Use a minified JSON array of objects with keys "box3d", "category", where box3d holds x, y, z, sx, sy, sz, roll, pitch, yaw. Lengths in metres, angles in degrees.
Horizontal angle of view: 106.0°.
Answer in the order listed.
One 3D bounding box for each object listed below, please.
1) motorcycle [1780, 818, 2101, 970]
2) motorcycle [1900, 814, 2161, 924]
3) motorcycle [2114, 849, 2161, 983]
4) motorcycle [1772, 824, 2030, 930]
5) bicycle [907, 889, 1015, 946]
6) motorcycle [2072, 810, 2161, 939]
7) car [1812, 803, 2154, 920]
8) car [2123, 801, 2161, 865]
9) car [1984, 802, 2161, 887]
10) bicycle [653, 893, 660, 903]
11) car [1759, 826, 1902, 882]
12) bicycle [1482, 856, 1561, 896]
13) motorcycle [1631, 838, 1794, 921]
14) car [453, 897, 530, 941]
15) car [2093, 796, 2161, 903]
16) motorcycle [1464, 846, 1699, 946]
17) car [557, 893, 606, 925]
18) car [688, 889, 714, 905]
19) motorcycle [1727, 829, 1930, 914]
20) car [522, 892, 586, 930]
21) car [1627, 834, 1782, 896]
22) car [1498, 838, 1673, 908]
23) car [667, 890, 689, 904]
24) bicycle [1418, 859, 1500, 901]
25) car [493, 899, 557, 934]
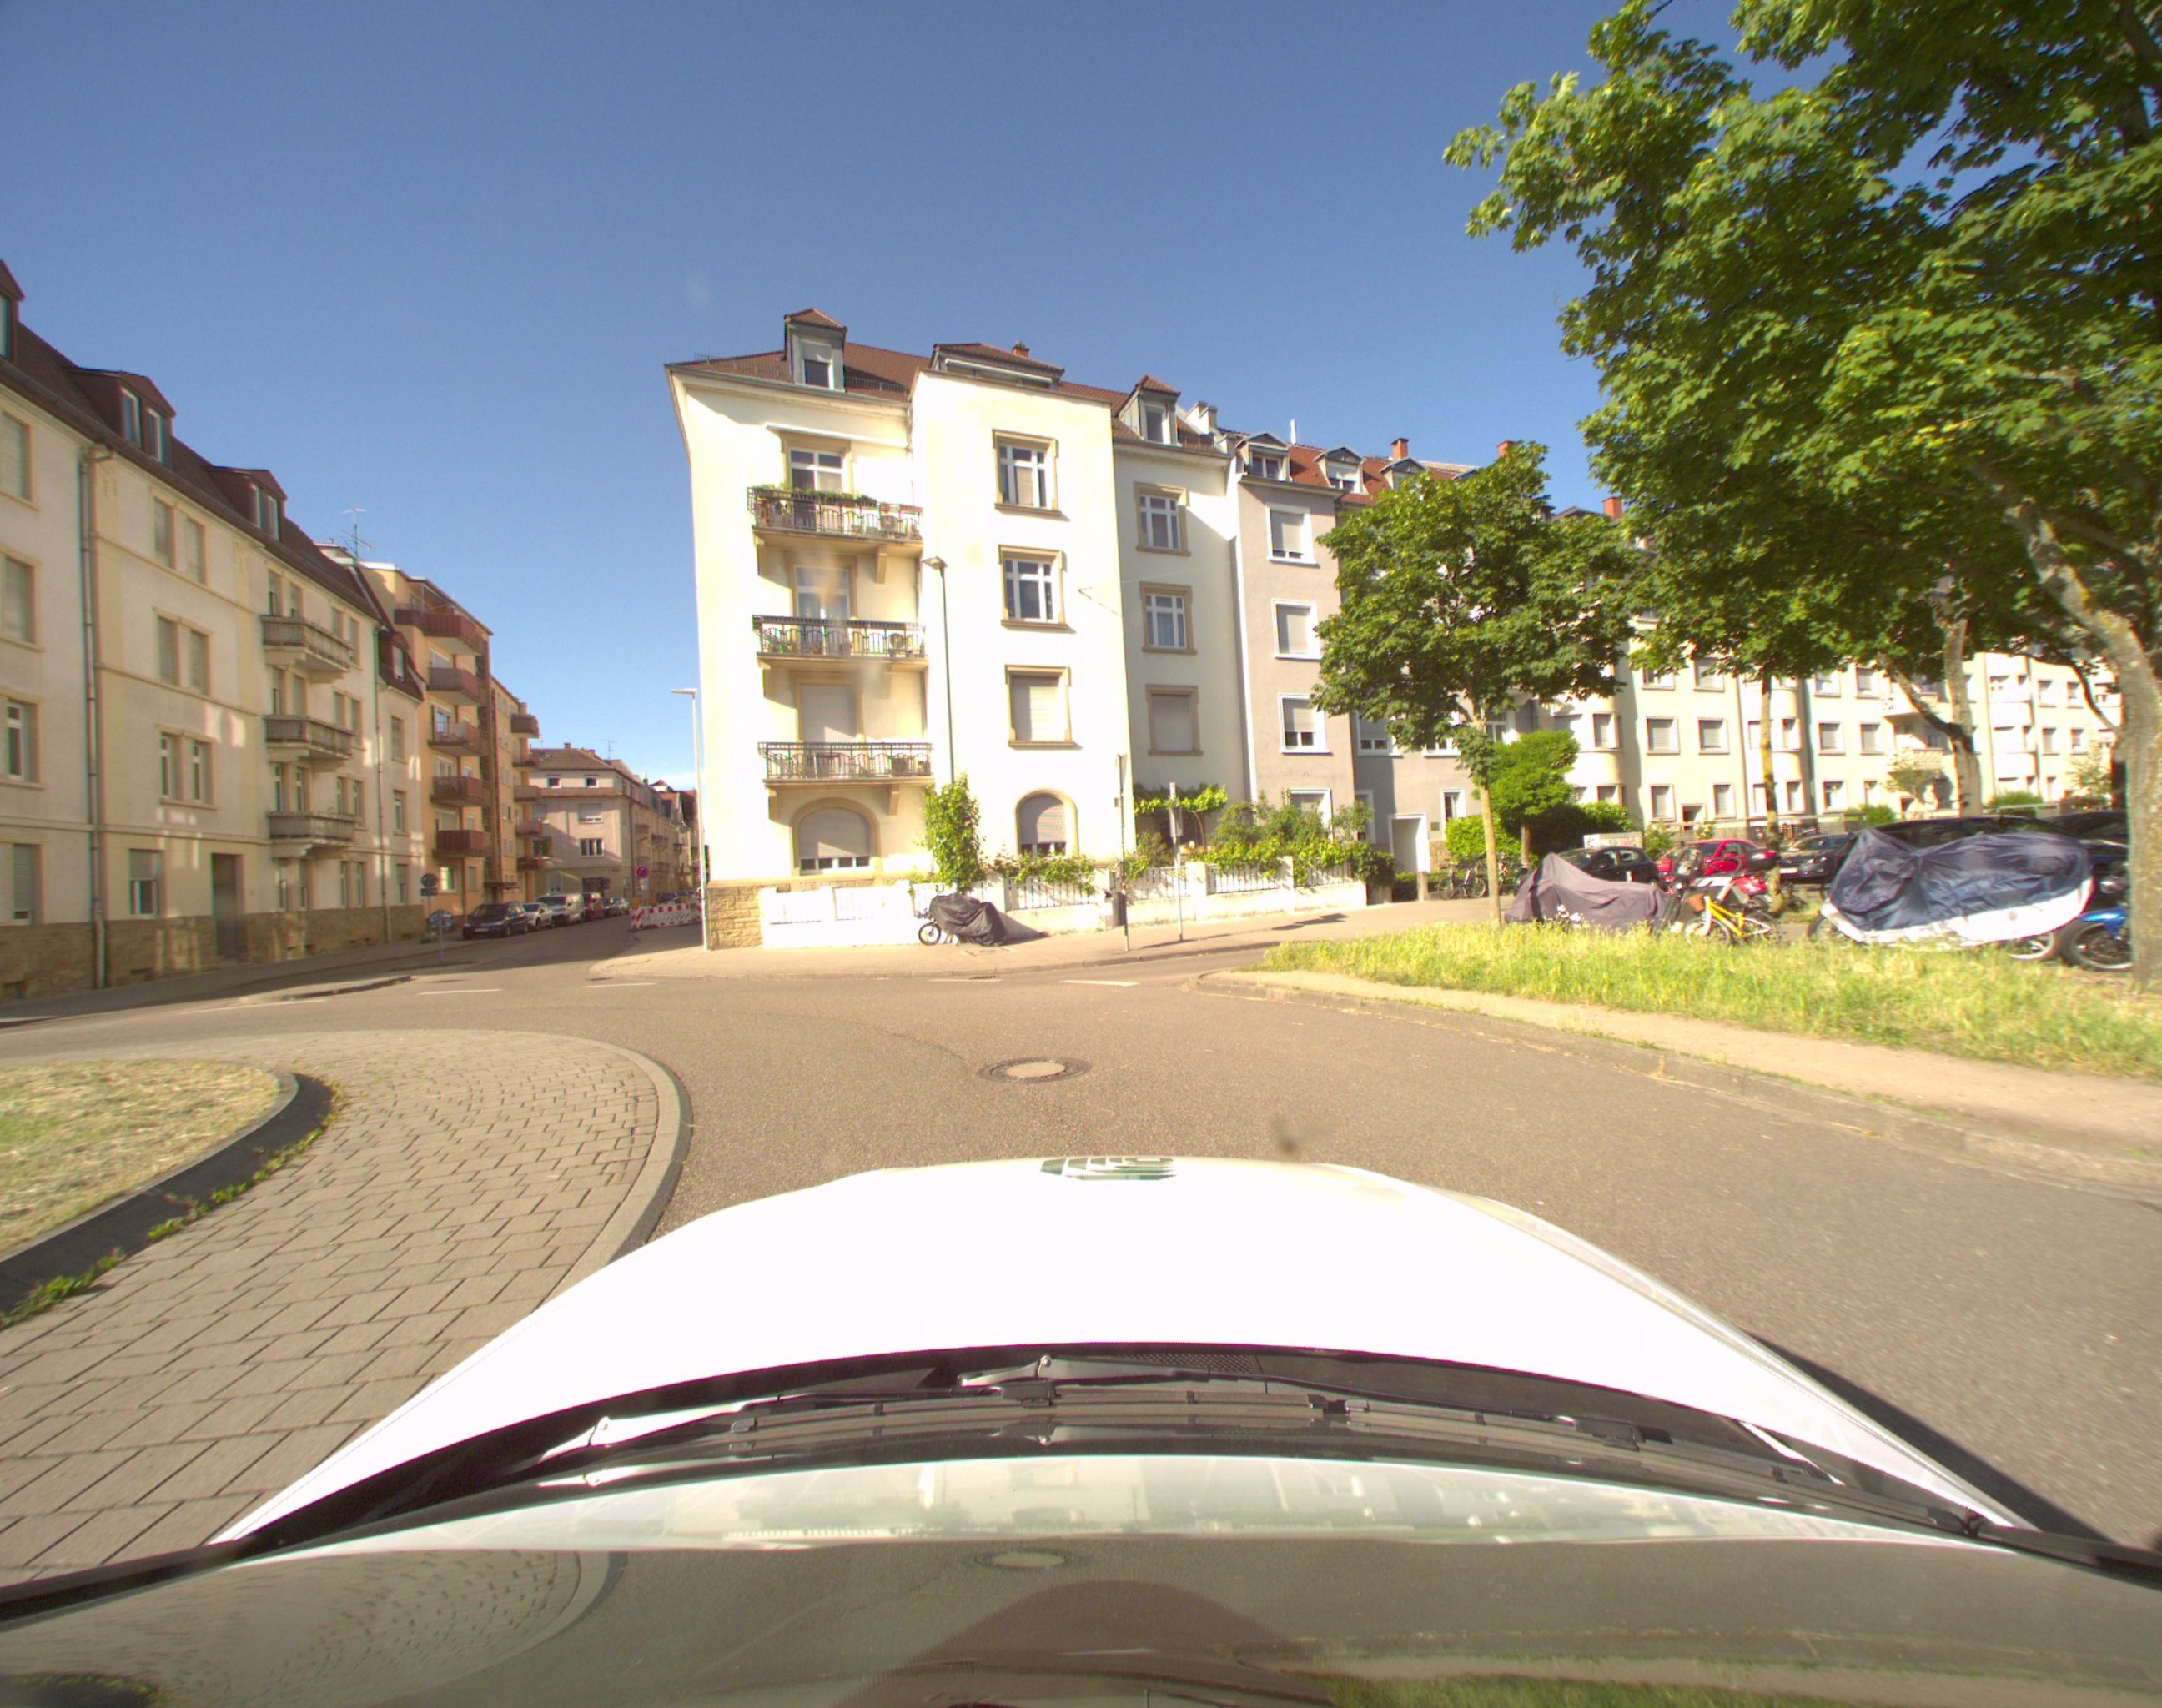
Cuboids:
[{"box3d":[8.675,0.388,8.359,0.864,1.328,2.037,-3,-1,-25],"category":"motorcycle"},{"box3d":[12.654,0.205,10.816,1.052,1.268,2.226,-3,-1,-21],"category":"motorcycle"},{"box3d":[9.557,0.499,6.255,0.815,1.072,1.832,-3,0,-21],"category":"motorcycle"},{"box3d":[11.210,0.317,11.261,1.052,1.268,2.226,-3,-1,-21],"category":"motorcycle"},{"box3d":[-2.664,1.411,18.050,2.258,1.157,0.771,-3,-2,22],"category":"bicycle"},{"box3d":[12.356,0.185,8.615,1.064,1.392,2.110,-3,-1,-23],"category":"motorcycle"},{"box3d":[15.161,0.130,14.076,1.788,1.640,3.884,-4,-1,7],"category":"car"},{"box3d":[27.691,-0.595,18.910,1.872,1.591,4.004,-4,-1,4],"category":"car"},{"box3d":[21.126,-0.202,16.310,1.694,1.591,4.004,-4,-1,4],"category":"car"},{"box3d":[-54.021,5.573,103.634,0.542,1.301,1.854,-2,-2,-18],"category":"bicycle"},{"box3d":[22.456,0.010,24.407,3.860,1.445,1.739,-3,-1,-24],"category":"car"},{"box3d":[13.261,0.660,24.515,2.257,1.059,0.678,-3,-1,-19],"category":"bicycle"},{"box3d":[10.363,0.425,13.461,0.890,1.236,1.880,-3,-1,-21],"category":"motorcycle"},{"box3d":[-27.475,2.986,38.134,1.769,1.771,4.264,-2,-1,-20],"category":"car"},{"box3d":[17.294,-0.142,11.058,1.989,1.598,3.995,-3,-1,-3],"category":"car"},{"box3d":[7.341,0.603,12.177,1.129,1.268,2.759,-3,-1,-27],"category":"motorcycle"},{"box3d":[-33.211,3.606,54.259,1.769,1.925,4.901,-2,-1,-20],"category":"car"},{"box3d":[-38.048,4.317,81.588,1.844,1.431,4.002,-4,-2,-19],"category":"car"},{"box3d":[12.460,0.308,13.688,1.052,1.268,2.226,-3,-1,-21],"category":"motorcycle"},{"box3d":[-31.034,3.301,48.111,1.982,1.925,5.272,-2,-1,-20],"category":"car"},{"box3d":[17.190,0.299,22.459,3.860,1.445,1.739,-3,-1,-24],"category":"car"},{"box3d":[12.716,0.474,20.535,3.962,1.445,1.739,-3,-3,-24],"category":"car"},{"box3d":[-49.302,5.298,99.753,2.011,1.582,4.455,0,-3,-20],"category":"car"},{"box3d":[10.894,0.740,23.489,2.257,1.059,0.678,-3,-1,-19],"category":"bicycle"},{"box3d":[-29.290,3.244,43.032,1.769,1.621,4.265,-2,-1,-20],"category":"car"}]
